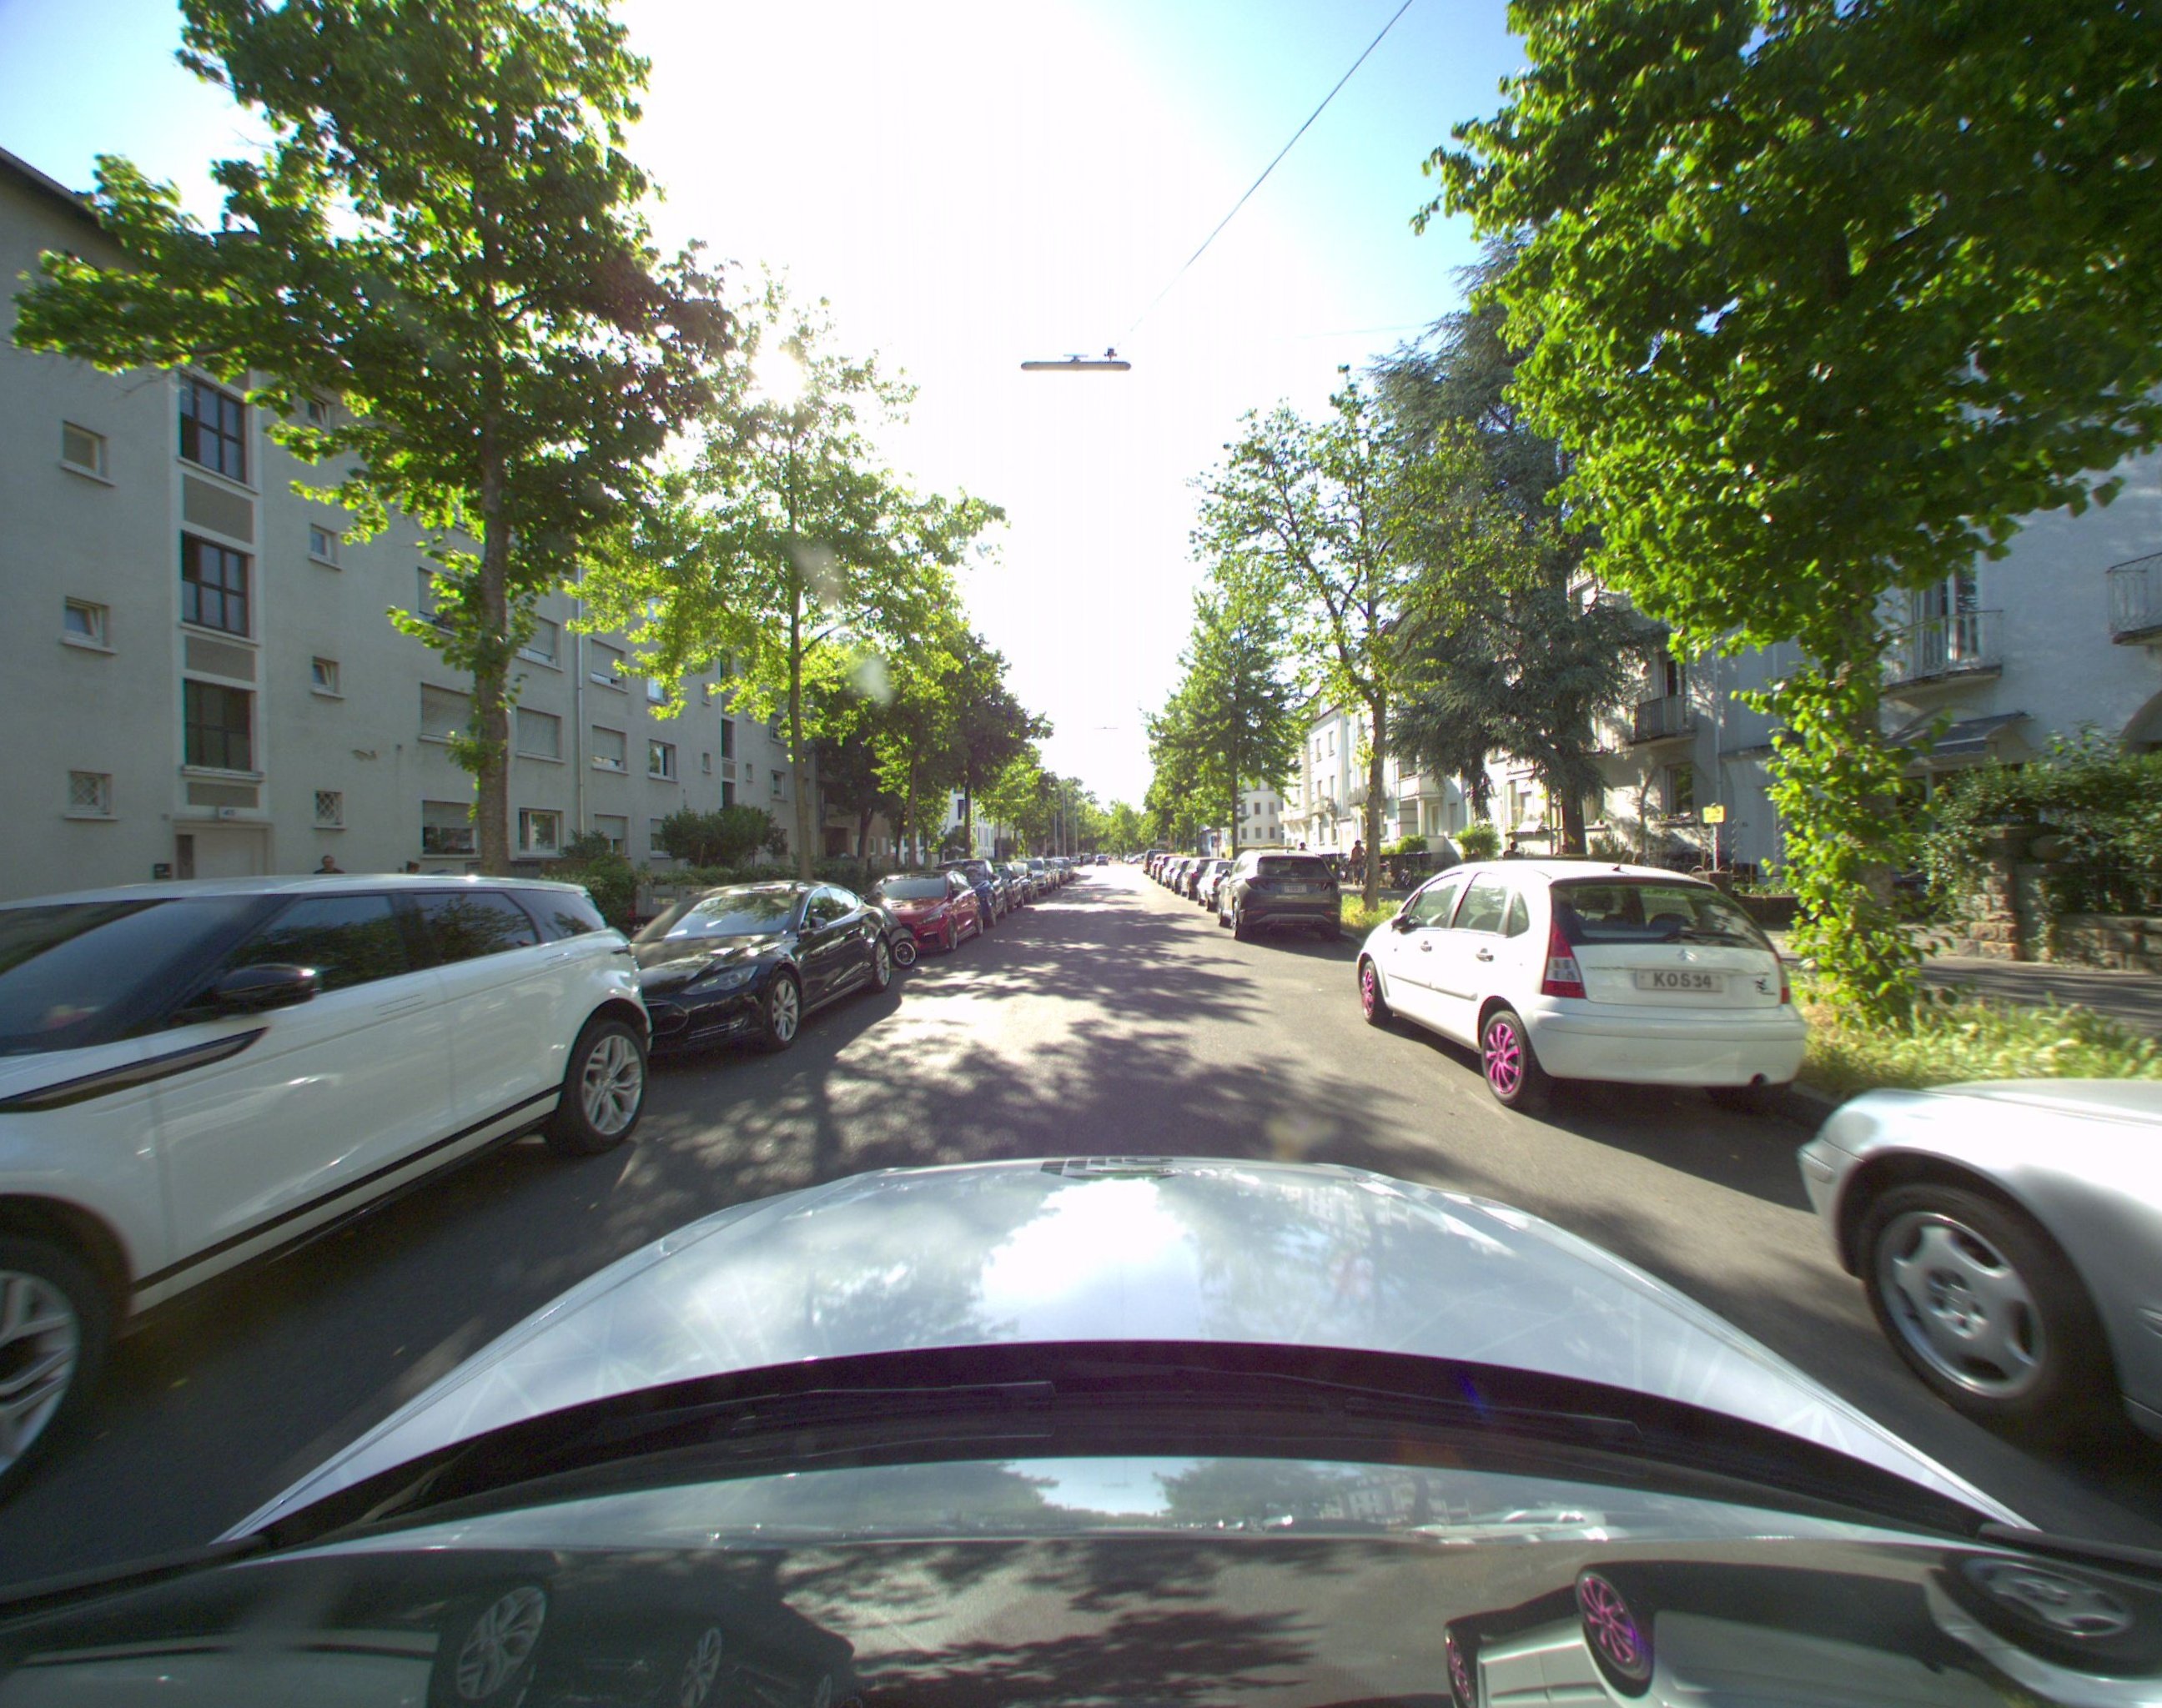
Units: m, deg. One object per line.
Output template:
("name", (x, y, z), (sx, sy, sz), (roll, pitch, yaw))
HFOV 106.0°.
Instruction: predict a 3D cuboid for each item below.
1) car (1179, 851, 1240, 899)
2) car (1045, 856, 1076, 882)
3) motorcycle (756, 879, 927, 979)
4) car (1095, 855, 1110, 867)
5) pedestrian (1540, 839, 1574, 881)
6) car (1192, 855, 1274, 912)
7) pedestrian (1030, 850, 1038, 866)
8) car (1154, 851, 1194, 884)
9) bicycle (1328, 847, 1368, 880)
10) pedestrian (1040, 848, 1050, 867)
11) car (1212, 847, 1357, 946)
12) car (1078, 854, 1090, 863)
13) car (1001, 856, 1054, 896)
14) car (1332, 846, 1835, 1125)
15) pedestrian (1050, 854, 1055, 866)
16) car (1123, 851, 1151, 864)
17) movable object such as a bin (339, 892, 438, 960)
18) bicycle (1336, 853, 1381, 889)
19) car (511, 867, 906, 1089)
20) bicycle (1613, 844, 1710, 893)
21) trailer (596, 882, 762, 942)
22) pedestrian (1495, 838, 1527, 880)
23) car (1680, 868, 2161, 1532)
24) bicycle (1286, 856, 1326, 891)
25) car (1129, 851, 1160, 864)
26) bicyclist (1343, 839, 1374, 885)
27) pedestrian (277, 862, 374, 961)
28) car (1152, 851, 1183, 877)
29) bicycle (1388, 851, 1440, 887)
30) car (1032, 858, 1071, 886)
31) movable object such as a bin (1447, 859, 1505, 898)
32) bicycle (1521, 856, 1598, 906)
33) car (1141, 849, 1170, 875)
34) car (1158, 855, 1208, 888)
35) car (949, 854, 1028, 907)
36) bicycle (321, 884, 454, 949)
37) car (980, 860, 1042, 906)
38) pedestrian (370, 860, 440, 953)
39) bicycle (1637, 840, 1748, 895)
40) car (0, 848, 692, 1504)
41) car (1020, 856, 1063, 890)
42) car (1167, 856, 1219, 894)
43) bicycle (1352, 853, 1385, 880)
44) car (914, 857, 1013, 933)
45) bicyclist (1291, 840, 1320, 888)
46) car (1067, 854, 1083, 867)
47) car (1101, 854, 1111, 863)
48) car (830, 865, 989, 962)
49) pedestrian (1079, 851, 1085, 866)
("car", (4.533, 0.694, 29.251), (1.686, 1.540, 4.444), (-1, 0, 2))
("car", (-1.361, 0.995, 56.257), (1.833, 1.595, 4.264), (-4, 0, 2))
("motorcycle", (-3.528, 1.089, 12.183), (2.284, 1.270, 0.806), (-3, 0, -8))
("car", (2.821, 0.926, 108.663), (1.778, 1.609, 3.997), (-2, 0, -2))
("pedestrian", (13.453, 0.171, 23.047), (0.508, 1.142, 0.756), (-1, 0, 0))
("car", (4.290, 0.770, 23.610), (1.744, 1.454, 4.465), (1, 0, 2))
("pedestrian", (-5.690, 0.485, 99.091), (0.856, 2.013, 0.981), (-2, 0, 0))
("car", (5.167, 0.721, 45.835), (1.899, 1.699, 4.316), (1, 0, 2))
("bicycle", (10.826, 0.374, 33.112), (0.836, 1.257, 2.230), (-1, 0, -1))
("pedestrian", (-3.920, 0.403, 88.287), (0.853, 2.013, 0.984), (-2, 0, 10))
("car", (3.798, 0.689, 16.101), (1.917, 1.651, 5.100), (0, 0, 4))
("car", (0.523, 0.801, 147.499), (1.986, 1.585, 4.003), (-2, 0, 2))
("car", (-2.285, 0.919, 35.845), (1.804, 1.596, 4.235), (-2, 0, 2))
("car", (3.410, 0.729, 6.522), (1.648, 1.532, 3.970), (1, 0, 1))
("pedestrian", (-4.815, 1.001, 139.031), (0.760, 1.900, 0.817), (-2, 0, -4))
("car", (8.285, 0.561, 121.166), (3.974, 1.830, 2.000), (-2, 0, -1))
("movable object such as a bin", (-11.539, 1.189, 13.598), (0.878, 1.033, 0.845), (-2, 0, 4))
("bicycle", (9.631, 0.566, 28.339), (0.681, 1.153, 2.402), (-2, 0, -1))
("car", (-3.354, 0.988, 8.547), (1.721, 1.477, 4.622), (-5, 0, 3))
("bicycle", (14.309, 0.349, 20.107), (1.888, 1.100, 0.584), (-3, 0, 5))
("trailer", (-8.567, 1.203, 17.683), (1.781, 1.034, 3.285), (-2, 0, 4))
("pedestrian", (11.977, 0.130, 22.694), (0.507, 1.142, 0.756), (-1, 0, 4))
("car", (3.181, 0.768, 0.796), (1.704, 1.410, 4.862), (0, 0, 1))
("bicycle", (7.862, 0.667, 28.523), (0.681, 1.153, 2.402), (-2, 0, -1))
("car", (8.433, 0.465, 108.604), (3.976, 1.587, 1.726), (-2, 0, -2))
("bicyclist", (9.622, 0.275, 28.300), (0.674, 1.553, 1.021), (-2, 0, -1))
("pedestrian", (-15.235, 1.132, 16.454), (0.928, 1.888, 1.028), (-2, 0, 8))
("car", (5.667, 0.631, 54.016), (1.826, 1.600, 4.161), (0, 0, 3))
("bicycle", (10.662, 0.468, 26.161), (0.801, 1.115, 1.999), (-1, 0, 0))
("car", (-1.756, 1.067, 50.192), (1.986, 1.453, 4.264), (-4, 0, 2))
("movable object such as a bin", (10.030, 0.605, 20.754), (1.210, 0.904, 1.673), (-2, 0, 23))
("bicycle", (10.084, 0.542, 17.242), (0.578, 0.975, 1.905), (-2, 0, 4))
("car", (6.028, 0.628, 66.202), (1.963, 1.949, 4.987), (-2, 0, 2))
("car", (4.871, 0.819, 39.537), (1.890, 1.474, 4.700), (1, 0, 1))
("car", (-2.808, 0.765, 25.606), (1.822, 1.453, 4.124), (-3, 0, 2))
("bicycle", (-13.720, 1.202, 16.181), (0.508, 1.153, 1.966), (-1, 0, 25))
("car", (-2.534, 1.028, 30.410), (1.755, 1.443, 3.910), (-4, 0, 2))
("pedestrian", (-14.522, 1.111, 17.511), (0.773, 1.913, 0.884), (-3, 0, 29))
("bicycle", (13.348, 0.297, 17.804), (1.888, 1.100, 0.584), (-3, 0, 5))
("car", (-3.553, 0.871, 3.207), (1.722, 1.618, 4.367), (-5, 0, 1))
("car", (-1.953, 0.941, 41.478), (1.703, 1.544, 3.933), (-4, 0, 3))
("car", (4.599, 0.830, 33.946), (1.782, 1.453, 3.783), (-1, 0, 2))
("bicycle", (10.814, 0.470, 30.709), (0.593, 0.957, 1.904), (-2, 0, 2))
("car", (-2.834, 0.925, 20.579), (1.784, 1.566, 4.464), (-5, 0, -1))
("bicyclist", (7.851, 0.341, 28.505), (0.675, 1.609, 0.921), (-2, 0, -1))
("car", (-0.792, 0.845, 110.426), (1.986, 1.671, 4.003), (-2, 0, 2))
("car", (4.974, 0.902, 163.834), (1.888, 1.560, 4.002), (-2, 0, 2))
("car", (-2.998, 0.985, 15.189), (1.772, 1.379, 4.265), (-4, 0, 3))
("pedestrian", (0.117, 0.625, 105.478), (0.714, 1.900, 0.834), (-2, 0, -8))
